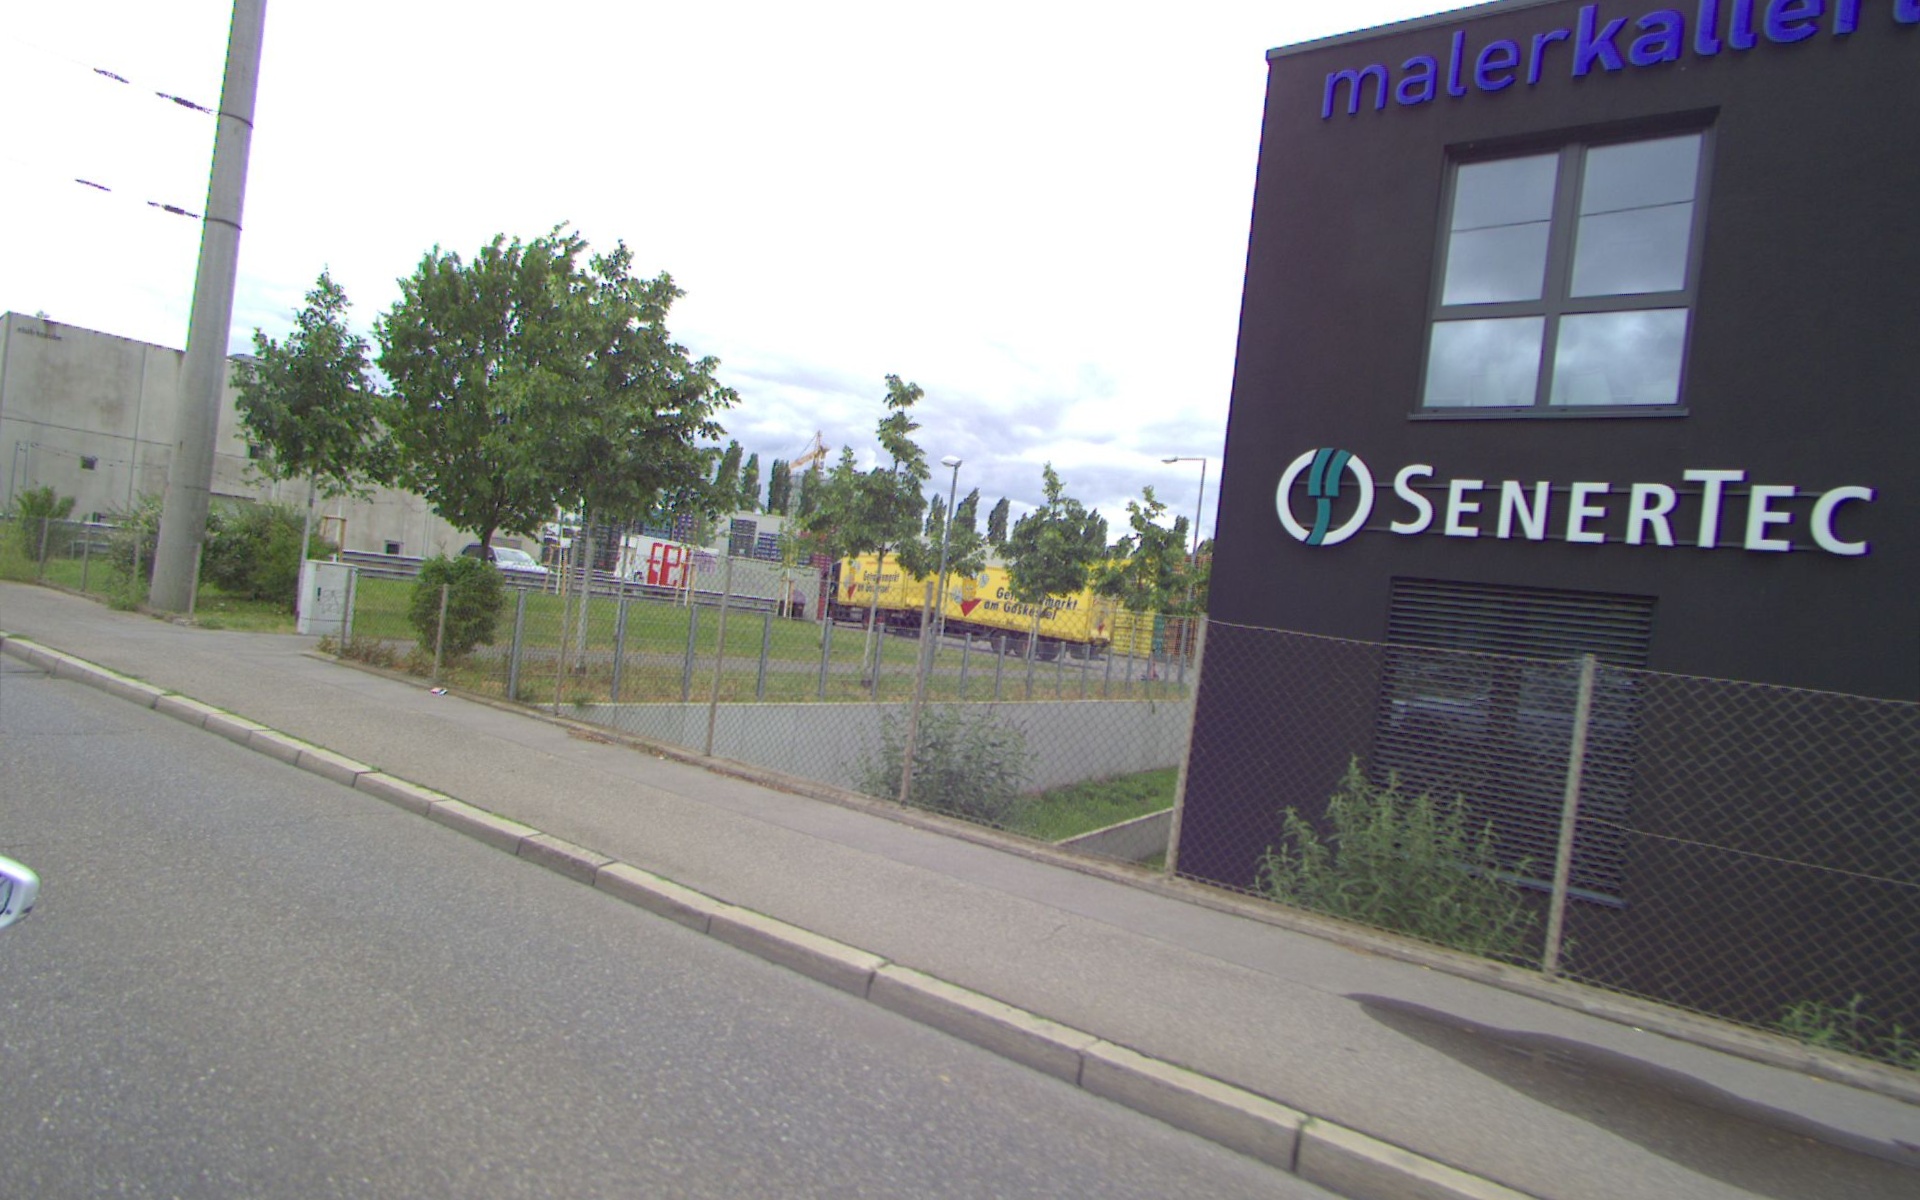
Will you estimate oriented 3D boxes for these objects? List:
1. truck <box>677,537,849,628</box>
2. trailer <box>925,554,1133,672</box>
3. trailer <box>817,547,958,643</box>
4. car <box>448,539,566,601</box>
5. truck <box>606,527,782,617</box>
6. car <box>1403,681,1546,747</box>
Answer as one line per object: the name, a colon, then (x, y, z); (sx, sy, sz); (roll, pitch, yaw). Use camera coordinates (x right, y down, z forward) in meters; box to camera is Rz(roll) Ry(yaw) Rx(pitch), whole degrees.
truck: (-9.199, -0.752, 47.891); (2.589, 3.070, 7.740); (6, -4, 43)
trailer: (2.996, 0.508, 45.290); (8.552, 4.123, 2.942); (8, 1, 32)
trailer: (-3.969, -0.407, 51.578); (2.887, 4.012, 9.946); (7, 0, -29)
car: (-16.761, -1.124, 37.135); (4.617, 1.741, 1.911); (7, 0, 37)
truck: (-12.771, -1.268, 48.785); (7.720, 3.070, 2.325); (11, -4, -40)
car: (18.406, 4.055, 36.229); (1.970, 1.604, 4.360); (7, 0, -17)
